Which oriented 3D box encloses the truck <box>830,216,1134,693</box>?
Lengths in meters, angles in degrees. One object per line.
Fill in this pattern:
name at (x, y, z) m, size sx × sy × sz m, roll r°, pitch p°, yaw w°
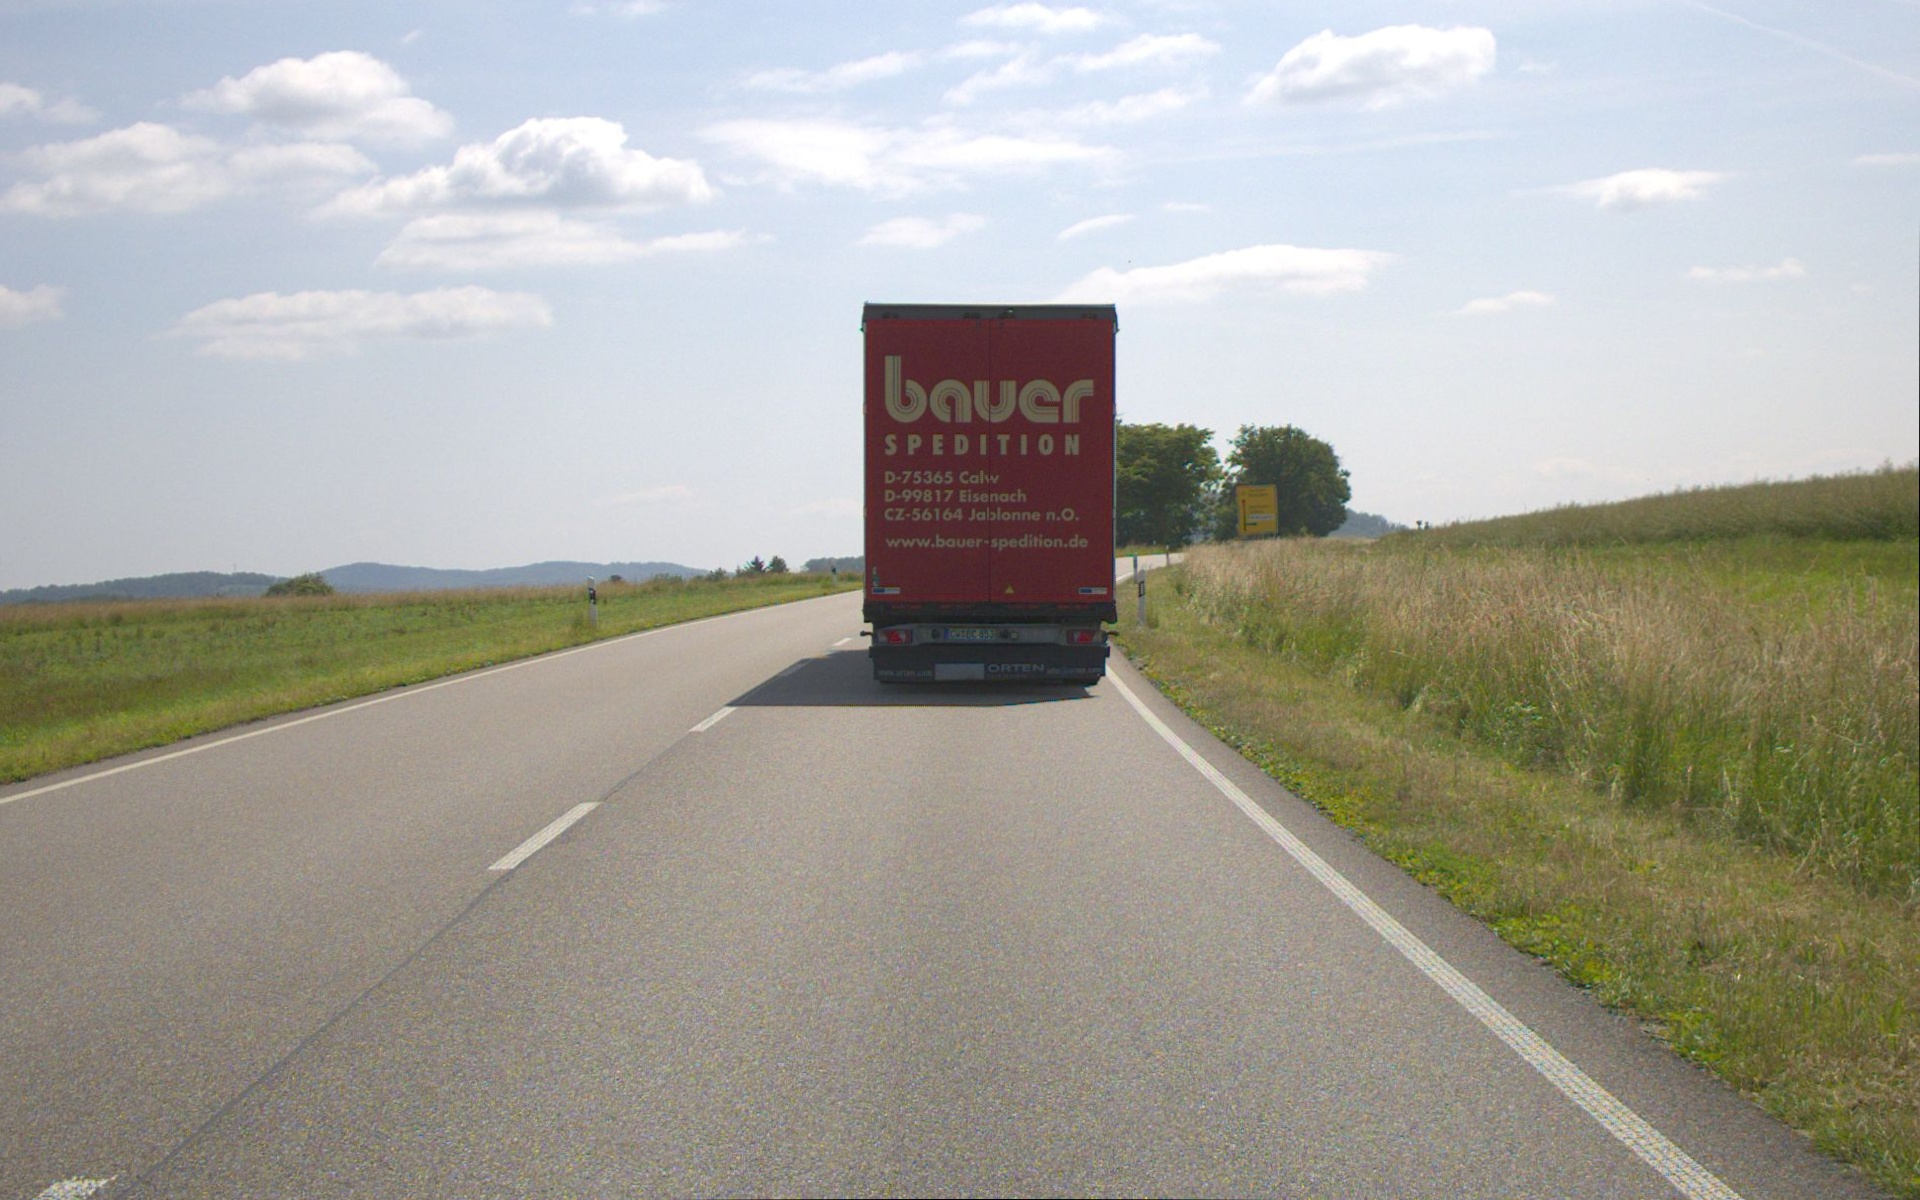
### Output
truck at (0.318, -1.547, 38.693) m, size 2.975 × 4.697 × 9.366 m, roll 0°, pitch 1°, yaw 1°
